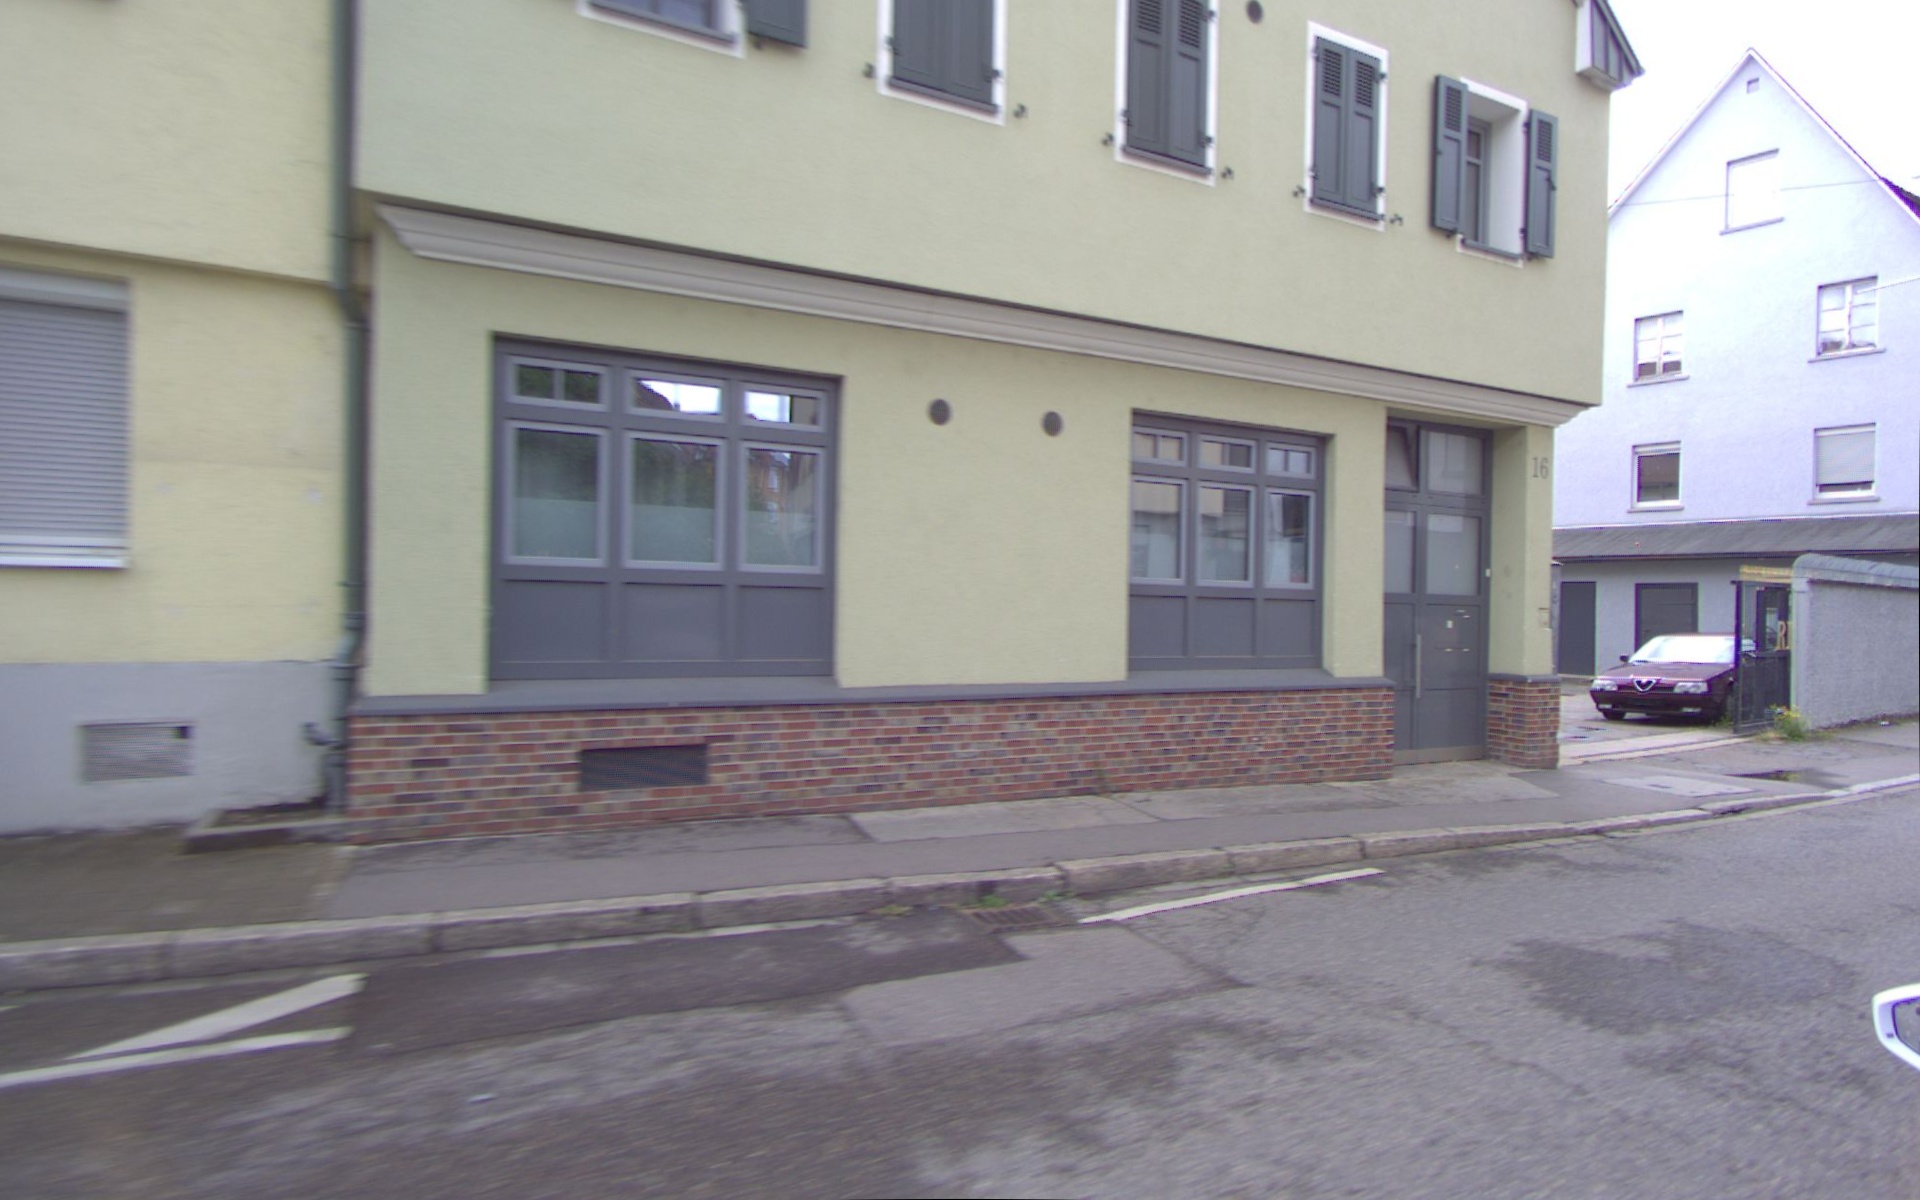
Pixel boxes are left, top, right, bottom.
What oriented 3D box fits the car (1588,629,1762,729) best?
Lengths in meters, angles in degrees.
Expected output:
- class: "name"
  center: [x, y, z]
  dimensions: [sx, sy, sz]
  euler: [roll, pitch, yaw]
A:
- class: "car"
  center: [11.688, 1.202, 16.325]
  dimensions: [3.974, 1.372, 1.629]
  euler: [2, -1, -45]
